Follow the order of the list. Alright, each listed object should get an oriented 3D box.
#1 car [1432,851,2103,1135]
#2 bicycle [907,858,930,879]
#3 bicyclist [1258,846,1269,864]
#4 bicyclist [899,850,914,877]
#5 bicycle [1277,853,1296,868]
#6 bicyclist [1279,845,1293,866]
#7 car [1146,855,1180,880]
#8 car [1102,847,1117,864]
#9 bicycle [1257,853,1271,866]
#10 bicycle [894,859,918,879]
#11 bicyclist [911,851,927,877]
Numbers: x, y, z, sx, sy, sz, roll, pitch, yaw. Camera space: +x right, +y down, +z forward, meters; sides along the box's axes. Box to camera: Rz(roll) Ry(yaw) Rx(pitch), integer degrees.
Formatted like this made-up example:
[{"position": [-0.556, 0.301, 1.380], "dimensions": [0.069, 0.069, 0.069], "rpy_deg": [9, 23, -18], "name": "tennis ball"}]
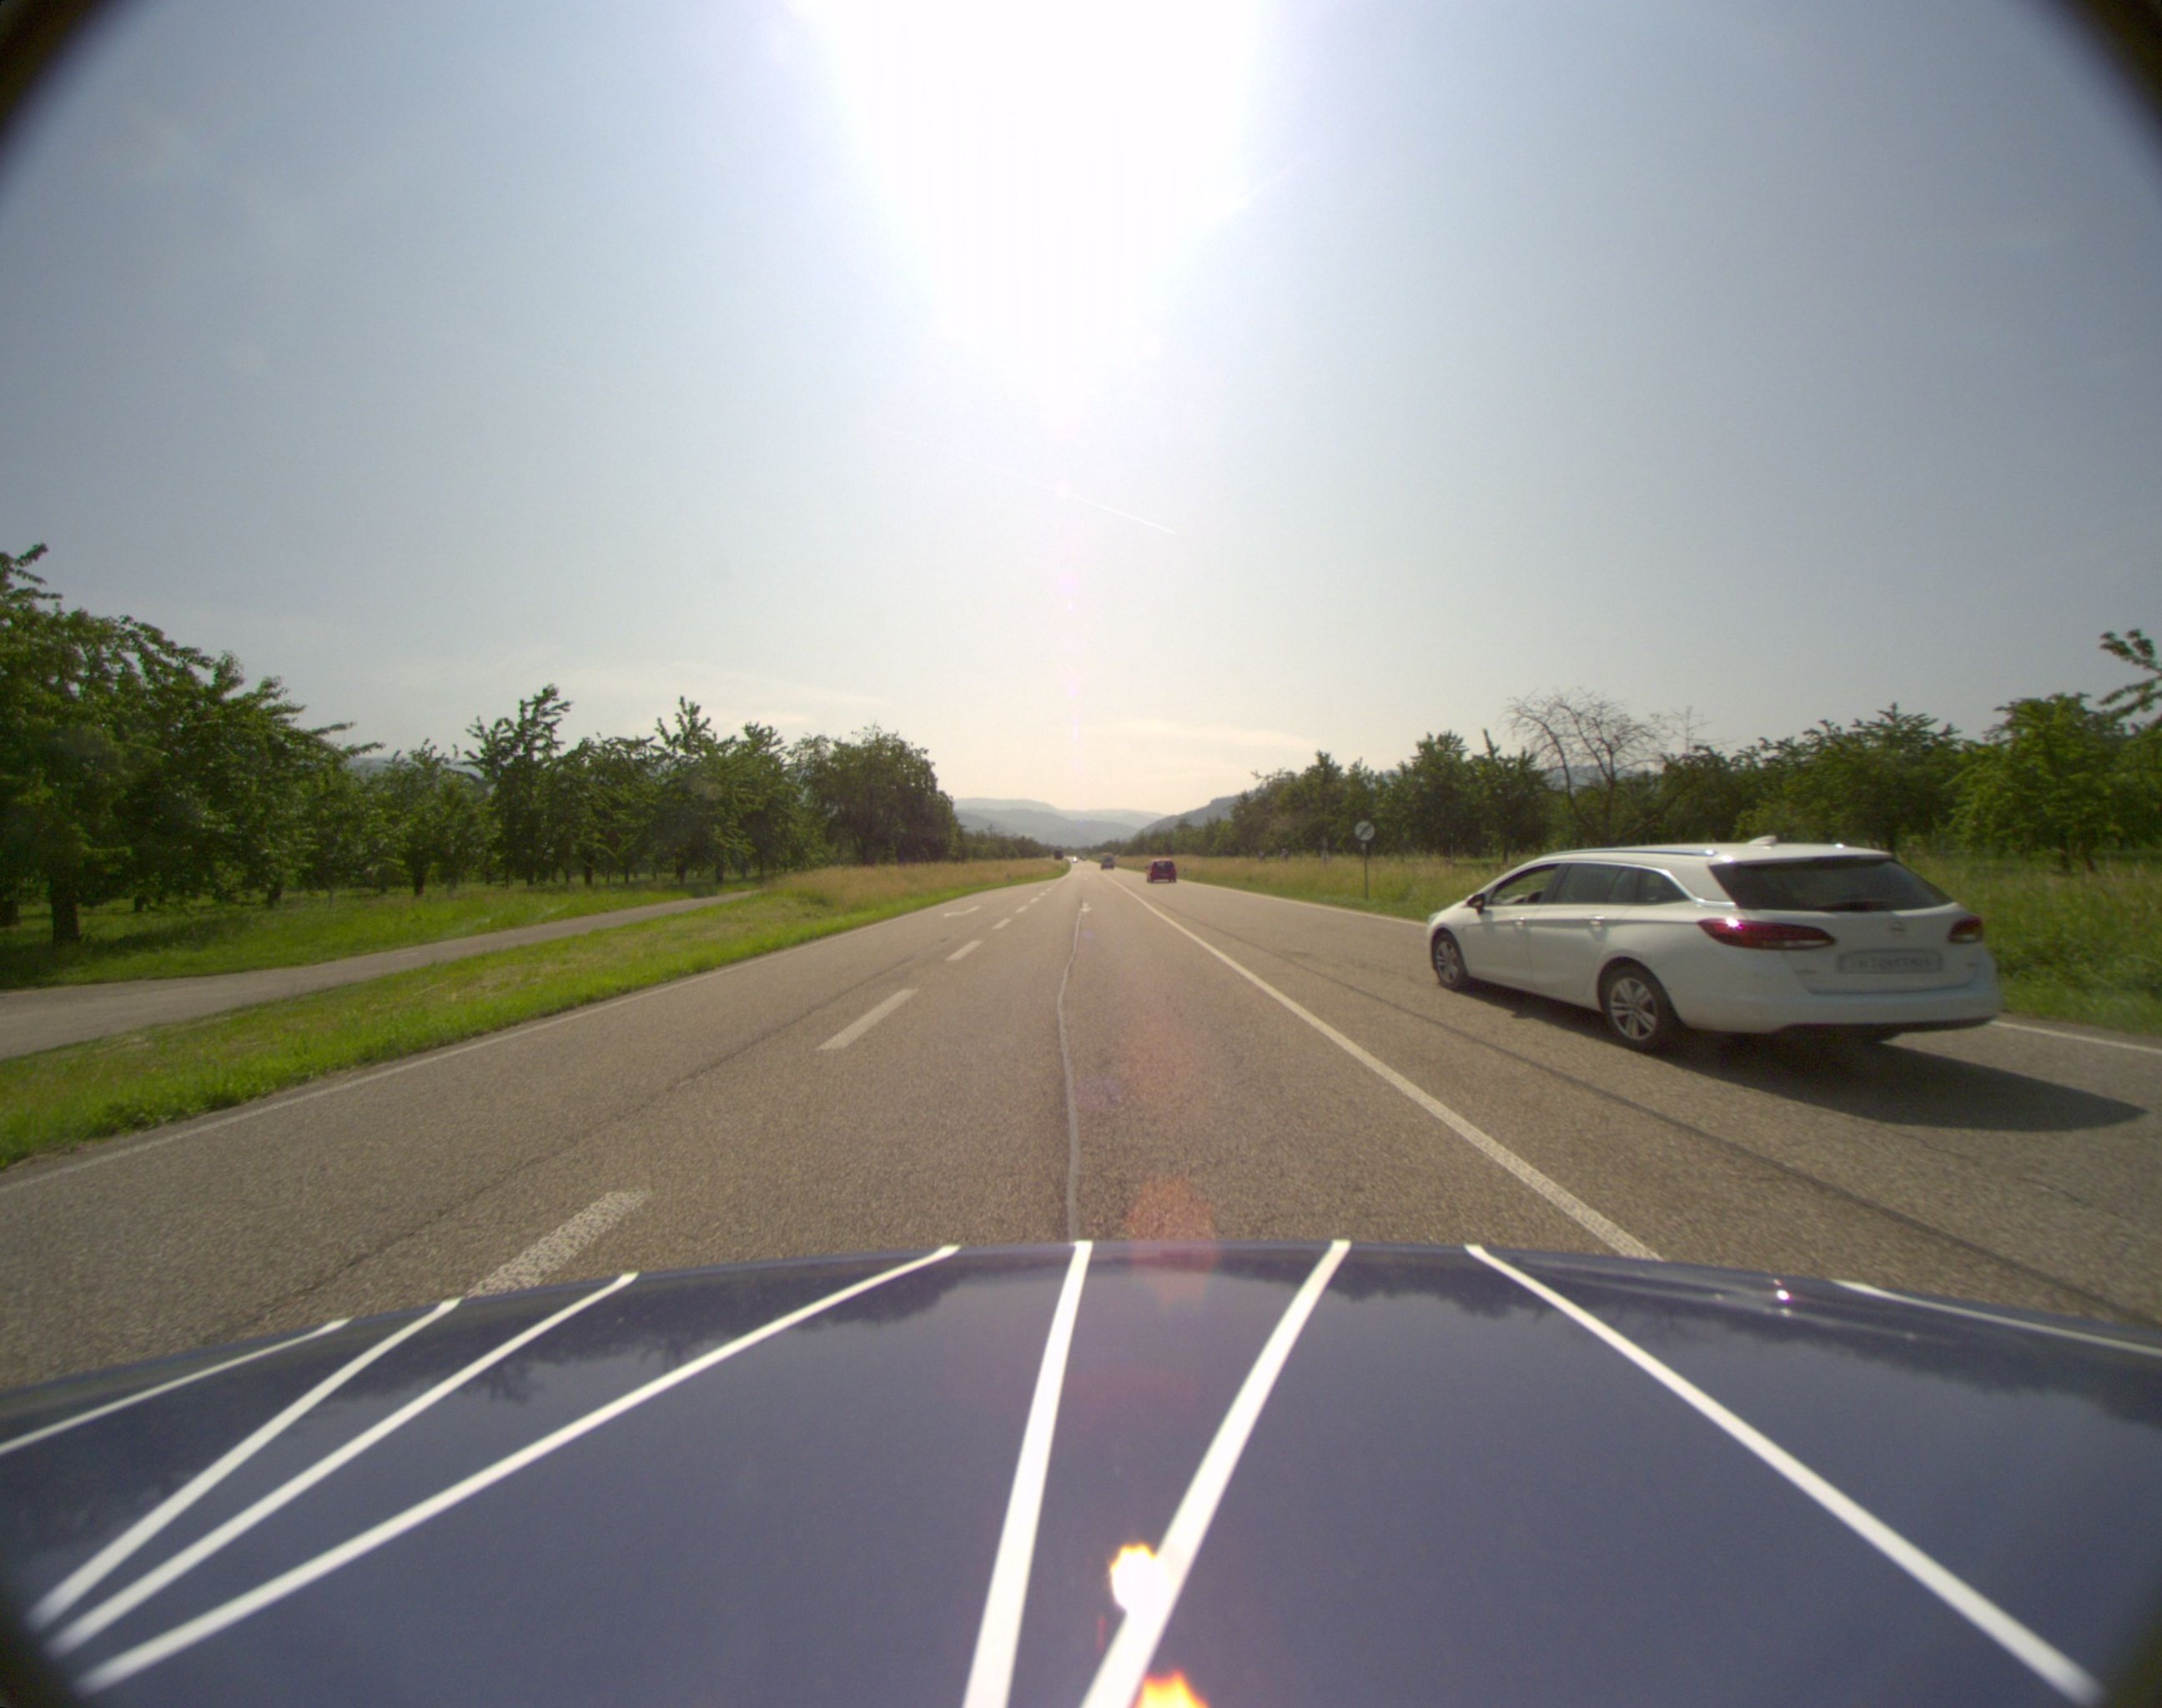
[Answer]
[{"position": [4.740, 0.765, 6.244], "dimensions": [1.679, 1.485, 4.136], "rpy_deg": [-3, 0, -1], "name": "car"}, {"position": [-11.575, 1.037, 54.304], "dimensions": [0.751, 1.410, 2.223], "rpy_deg": [-1, 0, 12], "name": "bicycle"}, {"position": [15.347, 0.073, 63.822], "dimensions": [0.643, 1.406, 0.863], "rpy_deg": [-2, 1, 1], "name": "bicyclist"}, {"position": [-12.609, 0.693, 54.798], "dimensions": [0.751, 1.918, 0.828], "rpy_deg": [-1, 0, 12], "name": "bicyclist"}, {"position": [14.698, 0.490, 54.465], "dimensions": [0.742, 0.983, 2.225], "rpy_deg": [-2, 1, 1], "name": "bicycle"}, {"position": [14.682, 0.124, 54.461], "dimensions": [0.742, 1.446, 0.863], "rpy_deg": [-2, 1, 1], "name": "bicyclist"}, {"position": [5.217, 0.847, 48.664], "dimensions": [1.629, 1.448, 3.621], "rpy_deg": [-3, 0, -1], "name": "car"}, {"position": [4.599, 0.192, 123.564], "dimensions": [2.166, 2.653, 6.142], "rpy_deg": [-3, 1, -1], "name": "car"}, {"position": [15.368, 0.450, 63.839], "dimensions": [0.650, 0.984, 1.955], "rpy_deg": [-2, 1, 1], "name": "bicycle"}, {"position": [-12.601, 1.073, 54.806], "dimensions": [0.751, 1.410, 2.223], "rpy_deg": [-1, 0, 12], "name": "bicycle"}, {"position": [-11.581, 0.702, 54.288], "dimensions": [0.751, 1.856, 0.870], "rpy_deg": [-1, 0, 12], "name": "bicyclist"}]
